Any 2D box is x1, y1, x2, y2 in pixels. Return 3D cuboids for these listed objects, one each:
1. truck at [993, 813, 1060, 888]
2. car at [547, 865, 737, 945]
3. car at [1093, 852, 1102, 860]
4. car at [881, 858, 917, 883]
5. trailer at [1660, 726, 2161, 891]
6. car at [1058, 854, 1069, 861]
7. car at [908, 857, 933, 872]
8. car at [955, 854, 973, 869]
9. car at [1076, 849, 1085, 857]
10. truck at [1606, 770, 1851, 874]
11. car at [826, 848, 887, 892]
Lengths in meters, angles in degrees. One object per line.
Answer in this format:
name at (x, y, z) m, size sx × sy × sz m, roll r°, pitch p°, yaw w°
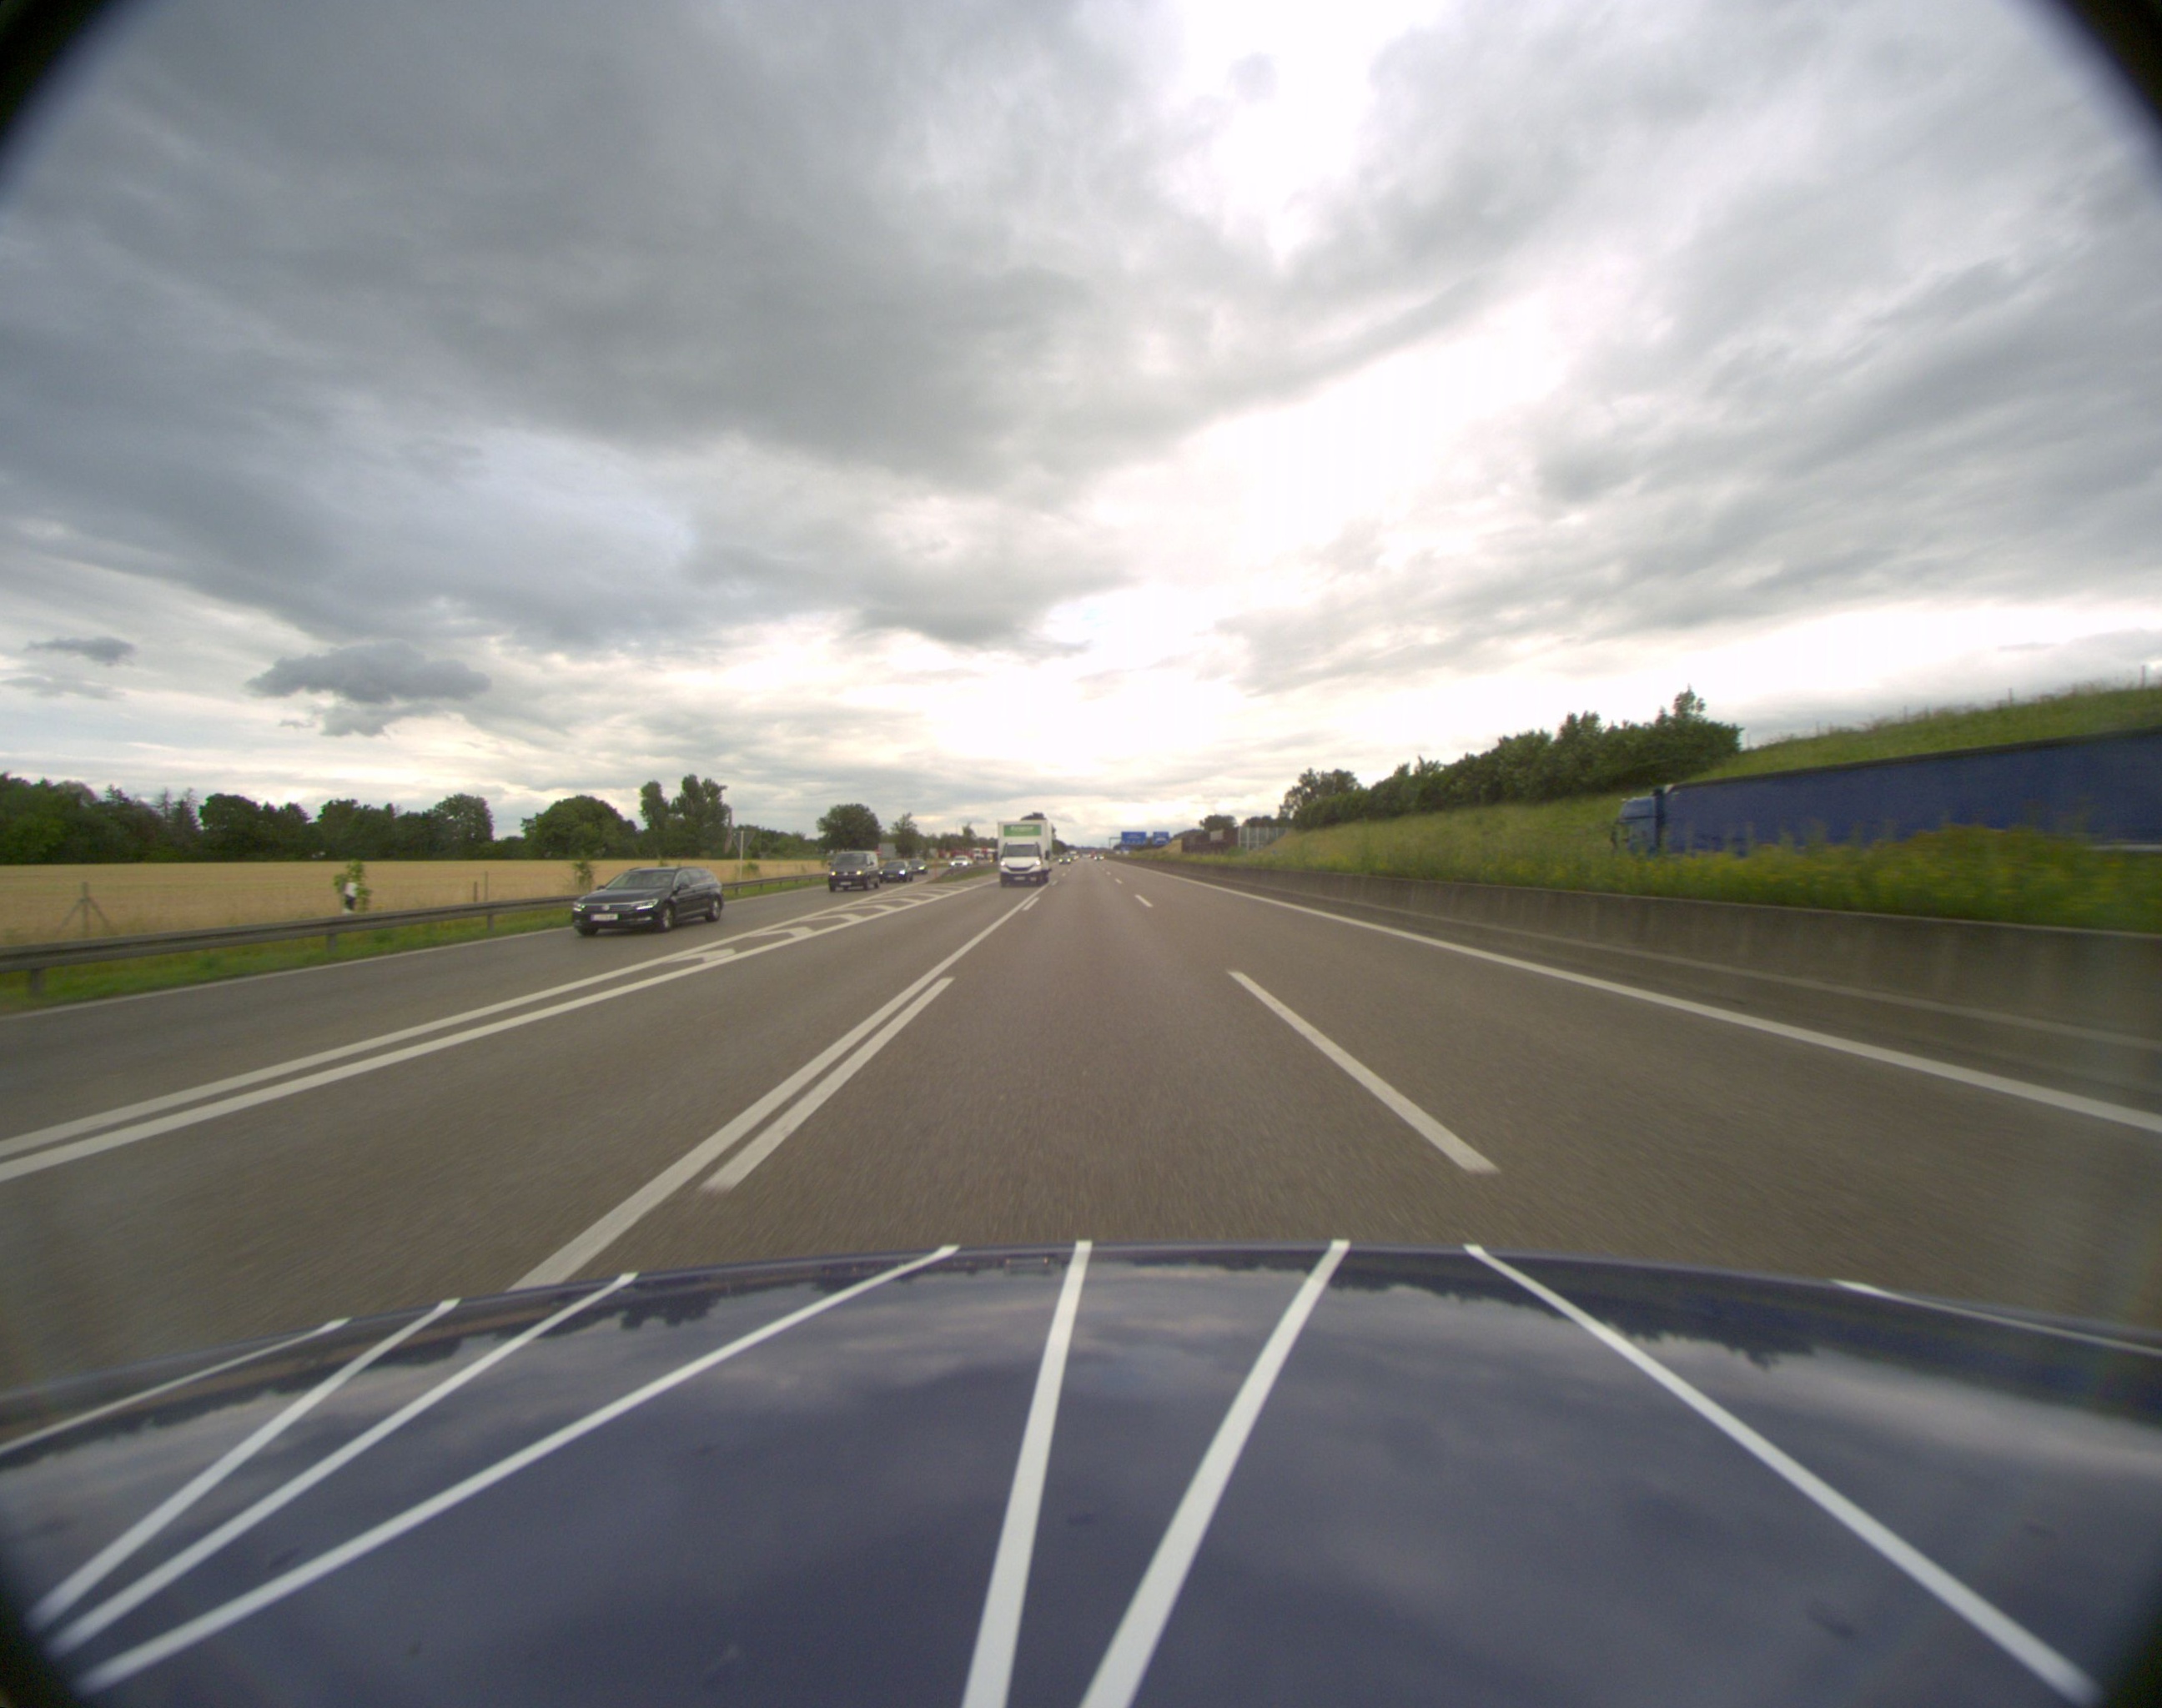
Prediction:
truck at (-2.758, -0.177, 41.035) m, size 2.777 × 3.484 × 9.061 m, roll -2°, pitch 0°, yaw 0°
car at (-10.083, 1.065, 17.998) m, size 1.923 × 1.541 × 4.921 m, roll 0°, pitch 0°, yaw -4°
car at (4.098, 0.465, 189.852) m, size 1.998 × 2.002 × 4.000 m, roll 0°, pitch 0°, yaw 1°
car at (-12.112, 1.060, 50.782) m, size 1.756 × 1.476 × 4.590 m, roll -2°, pitch 0°, yaw -7°
trailer at (20.869, -0.905, 18.545) m, size 2.928 × 2.938 × 13.970 m, roll -2°, pitch 0°, yaw 1°
car at (-2.842, 0.549, 124.728) m, size 1.781 × 1.180 × 4.000 m, roll 0°, pitch 0°, yaw 0°
car at (-15.743, 0.992, 74.850) m, size 1.834 × 1.308 × 5.710 m, roll -2°, pitch 0°, yaw -7°
car at (-14.514, 0.876, 94.387) m, size 1.833 × 1.746 × 5.063 m, roll 0°, pitch 0°, yaw -5°
car at (-0.132, -0.305, 188.275) m, size 1.998 × 2.002 × 4.000 m, roll 0°, pitch 0°, yaw 1°
truck at (20.981, -0.961, 25.210) m, size 2.917 × 2.929 × 6.115 m, roll -2°, pitch 1°, yaw 1°
car at (-11.404, 0.751, 38.982) m, size 2.150 × 2.051 × 4.954 m, roll -2°, pitch 0°, yaw -7°
